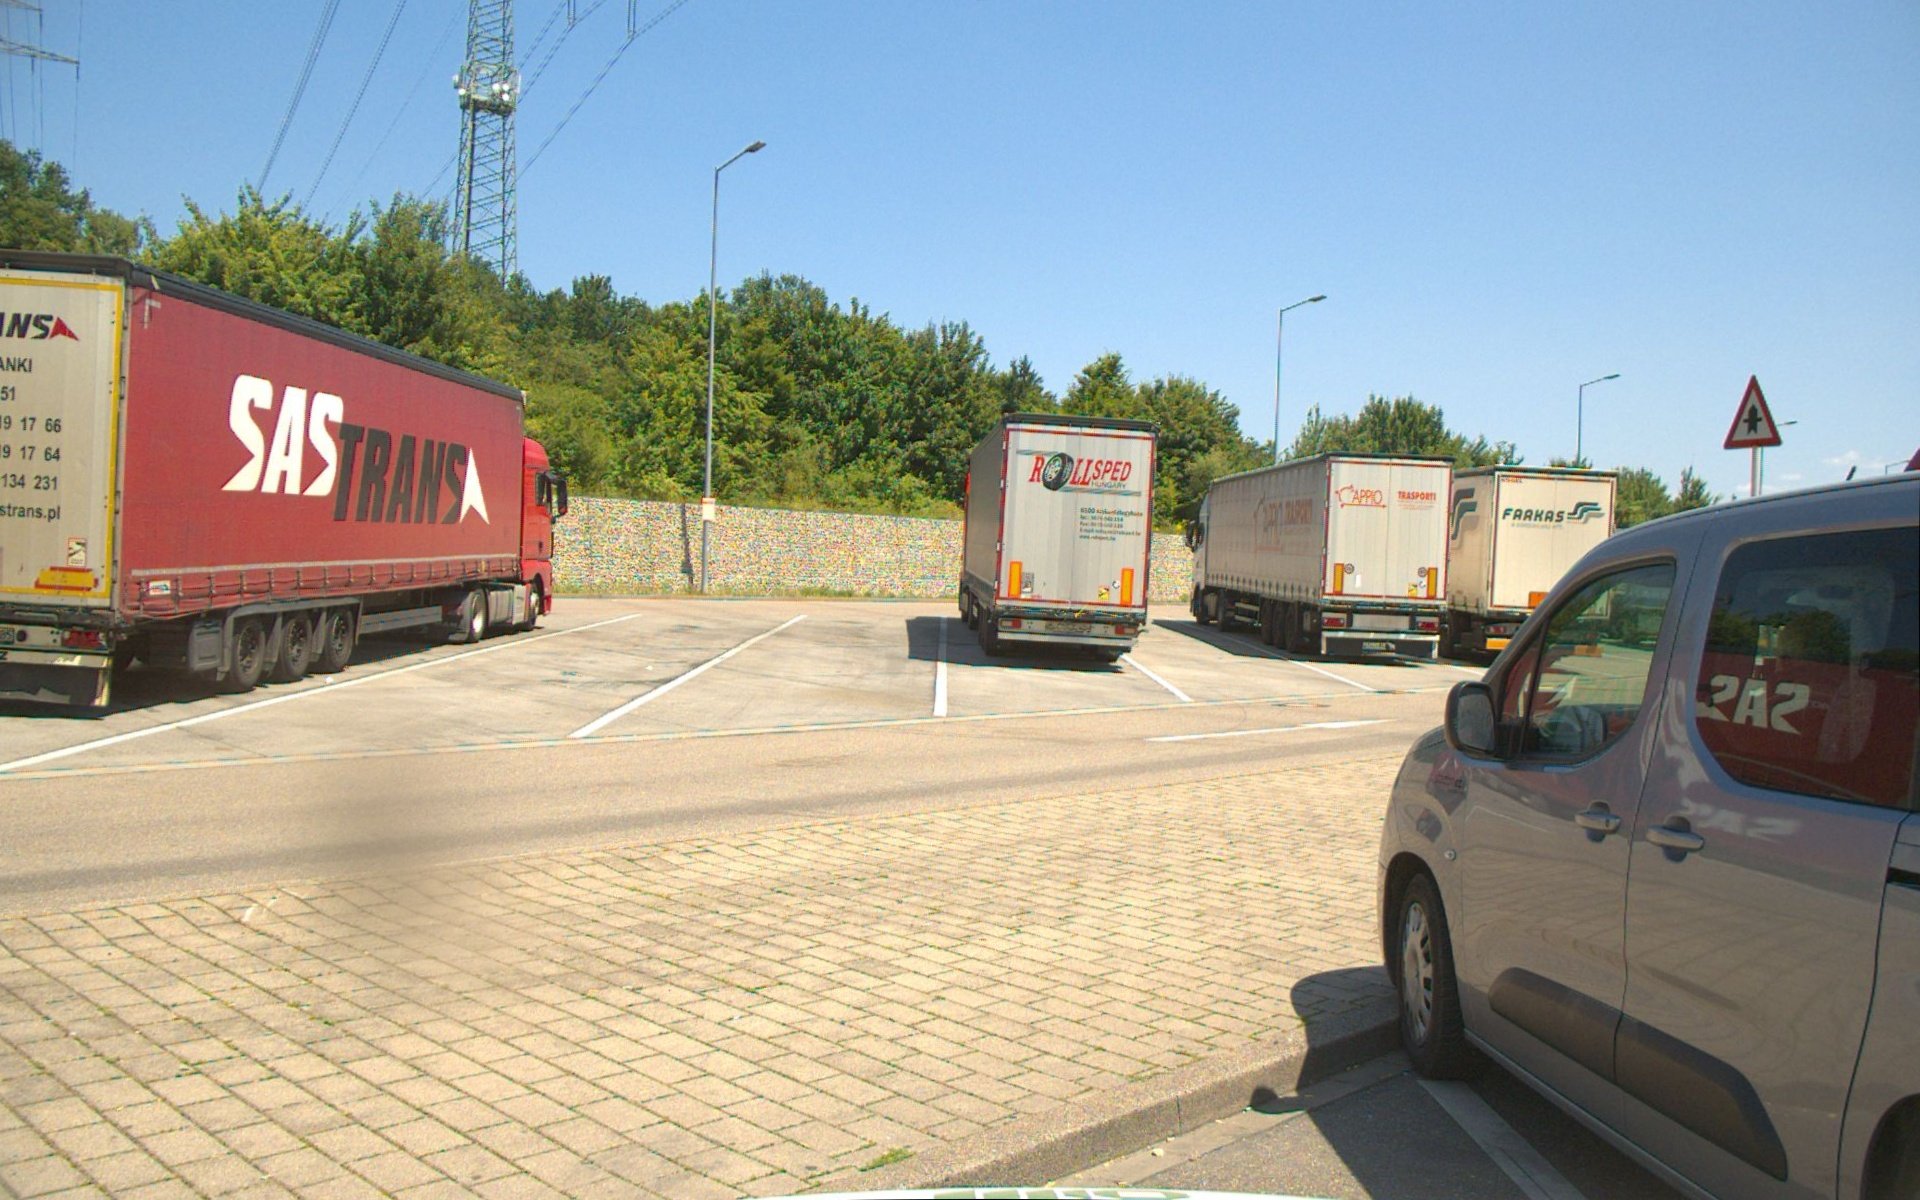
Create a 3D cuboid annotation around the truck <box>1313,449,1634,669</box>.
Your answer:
[{"bbox_3d":[11.717,-0.962,39.992,2.846,4.195,14.525,3,1,-1],"label":"truck"}]

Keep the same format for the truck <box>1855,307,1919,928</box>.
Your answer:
[{"bbox_3d":[4.978,0.125,4.936,1.952,2.669,5.305,1,1,3],"label":"truck"}]

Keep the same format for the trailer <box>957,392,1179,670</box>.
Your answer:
[{"bbox_3d":[1.699,-1.319,32.677,3.008,4.301,12.805,2,2,-2],"label":"trailer"}]

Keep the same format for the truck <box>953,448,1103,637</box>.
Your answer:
[{"bbox_3d":[1.467,-1.384,39.443,2.965,3.997,6.845,2,2,-2],"label":"truck"}]

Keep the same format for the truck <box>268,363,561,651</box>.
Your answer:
[{"bbox_3d":[-8.775,-1.424,27.538,2.687,4.152,6.828,1,1,-1],"label":"truck"}]

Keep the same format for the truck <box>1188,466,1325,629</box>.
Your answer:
[{"bbox_3d":[8.072,-1.416,45.608,2.701,4.196,5.283,1,1,-1],"label":"truck"}]

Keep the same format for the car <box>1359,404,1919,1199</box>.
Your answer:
[{"bbox_3d":[2.432,0.553,3.815,1.790,1.784,3.997,1,1,-4],"label":"car"}]

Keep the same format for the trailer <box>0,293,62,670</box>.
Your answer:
[{"bbox_3d":[-12.410,-1.313,15.447,2.689,4.337,9.733,1,1,0],"label":"trailer"}]

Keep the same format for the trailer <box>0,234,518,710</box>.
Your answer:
[{"bbox_3d":[-8.681,-1.263,21.056,2.694,4.128,13.285,1,1,-1],"label":"trailer"}]

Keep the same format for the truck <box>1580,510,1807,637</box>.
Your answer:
[{"bbox_3d":[21.958,-0.814,50.183,2.963,3.497,8.529,1,1,-1],"label":"truck"}]

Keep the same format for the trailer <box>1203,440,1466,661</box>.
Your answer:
[{"bbox_3d":[8.206,-1.091,38.608,2.818,4.196,13.569,1,1,-1],"label":"trailer"}]
